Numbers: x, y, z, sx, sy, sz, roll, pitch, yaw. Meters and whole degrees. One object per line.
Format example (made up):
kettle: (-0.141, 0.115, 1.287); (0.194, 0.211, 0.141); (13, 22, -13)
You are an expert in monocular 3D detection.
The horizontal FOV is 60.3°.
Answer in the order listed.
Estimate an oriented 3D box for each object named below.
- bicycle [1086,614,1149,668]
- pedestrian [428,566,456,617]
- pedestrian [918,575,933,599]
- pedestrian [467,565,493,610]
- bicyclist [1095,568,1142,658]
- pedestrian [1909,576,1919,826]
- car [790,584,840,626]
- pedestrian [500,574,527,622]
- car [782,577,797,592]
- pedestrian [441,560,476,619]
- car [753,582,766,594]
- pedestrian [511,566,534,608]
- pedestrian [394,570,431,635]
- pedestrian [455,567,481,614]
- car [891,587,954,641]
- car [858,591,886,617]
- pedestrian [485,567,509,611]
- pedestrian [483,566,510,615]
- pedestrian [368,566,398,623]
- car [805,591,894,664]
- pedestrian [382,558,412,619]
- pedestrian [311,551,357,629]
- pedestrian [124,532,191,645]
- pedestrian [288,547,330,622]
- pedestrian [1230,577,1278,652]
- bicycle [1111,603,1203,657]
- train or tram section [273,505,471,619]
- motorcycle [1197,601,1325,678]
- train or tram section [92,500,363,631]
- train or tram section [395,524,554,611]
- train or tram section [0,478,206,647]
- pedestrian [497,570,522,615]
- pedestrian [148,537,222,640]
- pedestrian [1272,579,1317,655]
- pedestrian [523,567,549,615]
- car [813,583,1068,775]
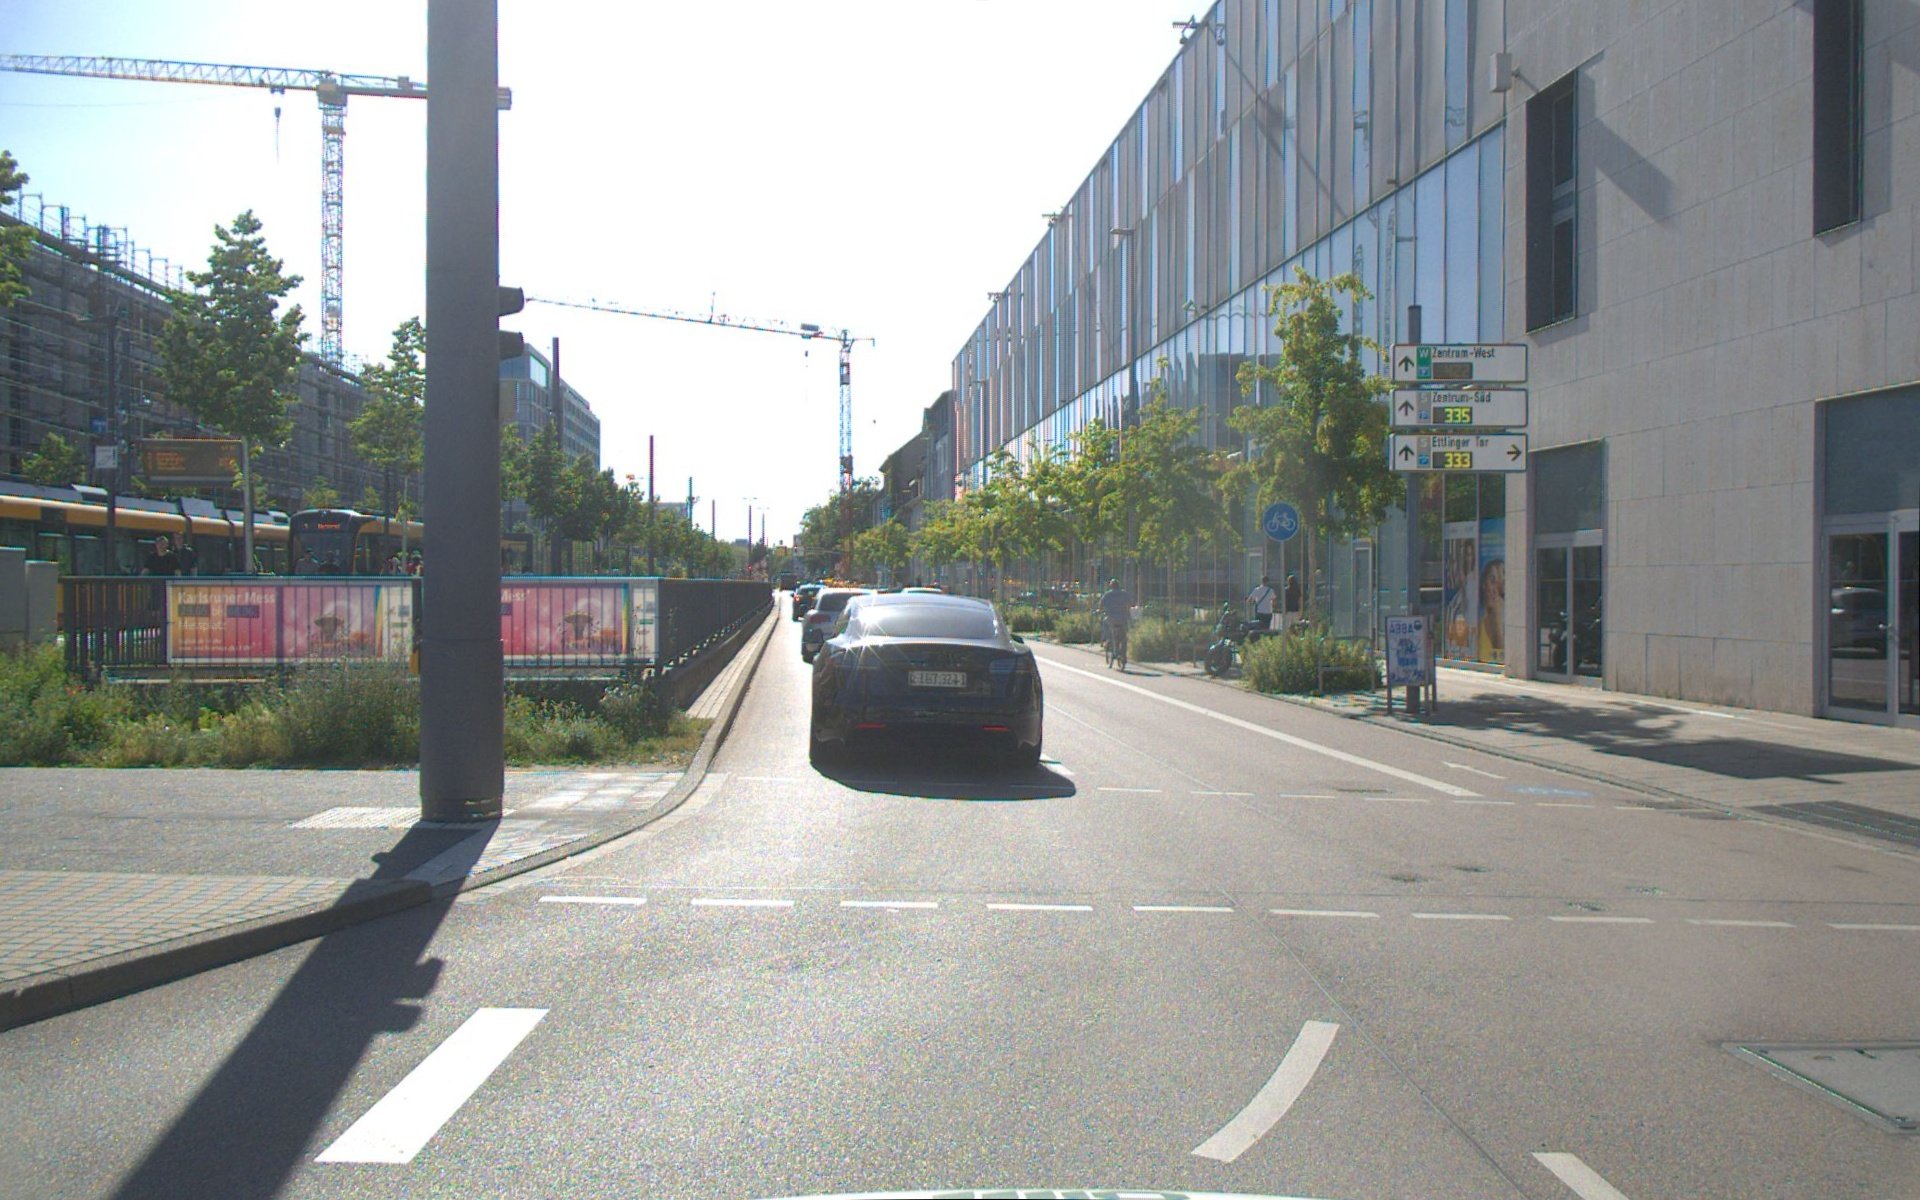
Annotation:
bicycle: (3.142, 0.807, 33.224); (0.715, 1.001, 2.328); (0, 0, -9)
pedestrian: (-17.467, -0.282, 55.806); (0.727, 1.724, 0.861); (0, 0, -5)
pedestrian: (-2.719, -1.064, 131.335); (1.074, 1.896, 1.520); (0, 0, -7)
pedestrian: (-17.728, -0.453, 61.106); (0.727, 1.657, 0.861); (0, 0, -5)
bicyclist: (3.160, 0.256, 33.105); (0.711, 1.767, 0.995); (0, 0, -9)
pedestrian: (6.983, 0.693, 11.192); (0.644, 1.732, 0.697); (-2, 1, -8)
car: (-5.876, 0.180, 67.346); (1.850, 1.624, 3.998); (0, 1, -3)
pedestrian: (-15.545, -0.080, 57.581); (0.727, 1.657, 0.861); (0, 0, -5)
car: (-21.417, -1.962, 208.040); (1.778, 1.841, 4.035); (0, 1, -4)
pedestrian: (-16.255, -0.351, 53.621); (0.870, 1.883, 1.006); (0, 0, -6)
car: (-30.450, -1.852, 251.224); (1.955, 1.713, 3.994); (2, 0, -7)
pedestrian: (-17.403, -0.513, 65.748); (0.727, 1.657, 0.861); (0, 0, -5)
pedestrian: (-14.174, 0.066, 42.849); (0.727, 1.657, 0.861); (0, 0, -5)
pedestrian: (-17.597, -0.337, 59.136); (0.727, 1.657, 0.861); (0, 0, -5)
car: (-1.197, 0.396, 51.457); (1.749, 1.573, 4.035); (0, 1, -4)
car: (-5.796, 0.251, 108.969); (1.850, 1.624, 3.998); (0, 1, -3)
pedestrian: (-17.694, -0.430, 63.188); (0.727, 1.657, 0.861); (0, 0, -5)
pedestrian: (-15.829, -0.315, 56.474); (0.727, 1.657, 0.861); (0, 0, -5)
pedestrian: (-15.987, -0.151, 45.825); (0.635, 1.539, 0.587); (2, 1, -9)
car: (-2.280, 0.520, 33.529); (1.683, 1.343, 3.996); (0, 1, -5)
pedestrian: (-17.248, -0.350, 50.692); (0.659, 1.842, 1.073); (0, 0, -6)
pedestrian: (-14.789, -0.243, 39.072); (0.776, 1.806, 0.977); (2, 1, -9)
pedestrian: (-13.142, -0.192, 27.107); (0.690, 1.806, 0.957); (2, 1, -9)
pedestrian: (-16.023, -0.378, 40.708); (0.747, 1.806, 0.825); (2, 1, -8)
pedestrian: (6.722, 0.322, 37.853); (0.806, 1.687, 0.898); (0, 0, -10)
bicycle: (4.635, 0.702, 39.024); (2.042, 1.226, 0.950); (-1, 0, 0)
train or tram section: (-19.979, -1.230, 57.522); (2.815, 3.336, 15.167); (2, 0, -6)
motorcycle: (5.484, 0.711, 30.210); (2.145, 1.347, 0.903); (-1, 0, -2)
train or tram section: (-22.425, -1.013, 52.110); (2.793, 3.379, 15.947); (2, 0, -6)
train or tram section: (-21.785, -1.396, 76.058); (2.815, 3.336, 22.117); (2, 0, -6)
train or tram section: (-21.076, -0.841, 37.785); (2.815, 3.367, 13.057); (2, 0, -6)
pedestrian: (-16.922, -0.289, 62.147); (0.727, 1.657, 0.946); (0, 0, -5)
pedestrian: (-14.105, -0.214, 30.133); (0.858, 1.806, 1.187); (2, 1, -9)
pedestrian: (7.636, 0.378, 37.759); (0.693, 1.687, 0.898); (-2, 0, -10)
pedestrian: (-14.782, -0.327, 57.684); (0.727, 1.657, 0.861); (0, 0, -5)
car: (-0.281, 0.642, 15.110); (1.959, 1.459, 4.409); (1, -1, -4)
